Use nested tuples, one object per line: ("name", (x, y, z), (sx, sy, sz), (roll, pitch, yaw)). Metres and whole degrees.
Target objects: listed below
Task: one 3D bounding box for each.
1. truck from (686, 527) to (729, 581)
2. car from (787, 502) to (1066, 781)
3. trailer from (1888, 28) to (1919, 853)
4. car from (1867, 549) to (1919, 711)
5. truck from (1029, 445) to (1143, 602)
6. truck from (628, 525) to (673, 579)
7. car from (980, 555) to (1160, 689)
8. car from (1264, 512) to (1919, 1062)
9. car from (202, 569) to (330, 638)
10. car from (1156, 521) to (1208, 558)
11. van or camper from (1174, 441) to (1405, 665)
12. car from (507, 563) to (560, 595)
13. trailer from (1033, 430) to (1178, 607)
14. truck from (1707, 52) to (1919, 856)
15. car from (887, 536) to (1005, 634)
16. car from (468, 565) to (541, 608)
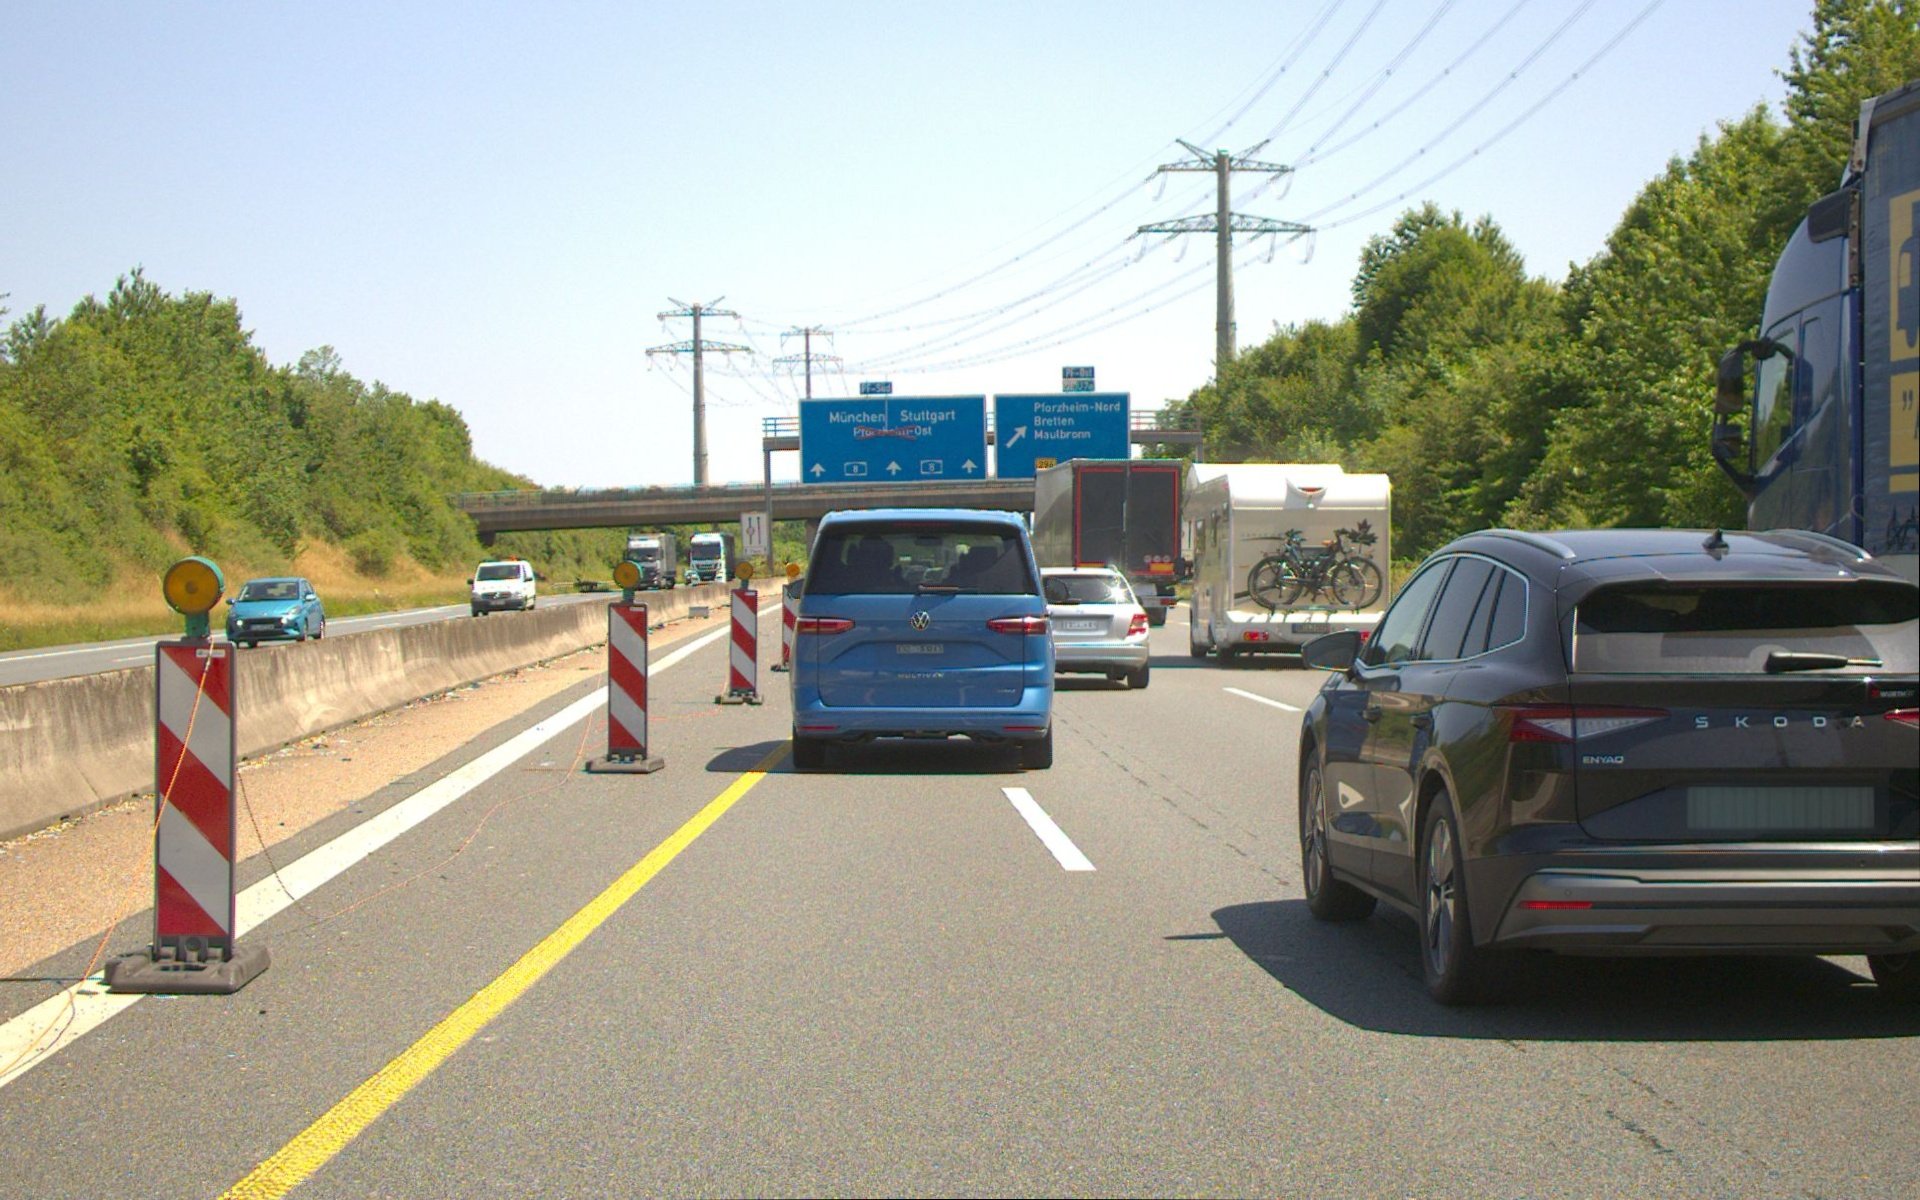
("truck", (-18.705, -3.413, 254.667), (2.722, 3.905, 6.778), (1, 1, -1))
("car", (-0.342, 0.266, 26.029), (1.874, 1.905, 4.360), (1, 1, -3))
("trailer", (6.574, -0.744, 11.697), (2.767, 4.249, 12.880), (1, 1, -2))
("car", (10.834, 0.325, 34.886), (1.874, 1.665, 4.360), (1, 1, -3))
("truck", (3.350, -2.030, 92.733), (2.733, 4.033, 5.794), (1, 1, -1))
("truck", (-22.753, -3.499, 252.671), (2.722, 3.905, 6.778), (1, 1, -1))
("car", (1.272, 0.226, 41.473), (1.770, 1.512, 4.360), (1, 1, -3))
("car", (2.306, 0.548, 12.647), (1.700, 1.649, 4.430), (1, 1, -3))
("car", (-15.116, 0.054, 75.086), (1.993, 1.393, 4.000), (-2, 1, -1))
("car", (10.363, -2.804, 160.769), (1.874, 1.665, 4.360), (1, 1, -3))
("van or camper", (4.755, -0.689, 50.930), (2.368, 3.033, 7.633), (1, 1, -2))
("car", (-19.932, -0.976, 160.880), (1.993, 1.393, 4.000), (-2, 1, -1))
("trailer", (3.496, -1.944, 85.809), (2.783, 4.033, 13.112), (1, 1, -1))
("truck", (6.267, -0.752, 18.996), (2.785, 4.130, 5.637), (1, 1, -2))
("car", (-0.291, -0.291, 61.741), (1.874, 1.665, 4.360), (1, 1, -3))
("car", (-15.782, -0.473, 119.236), (1.993, 1.393, 4.000), (-2, 1, -1))
